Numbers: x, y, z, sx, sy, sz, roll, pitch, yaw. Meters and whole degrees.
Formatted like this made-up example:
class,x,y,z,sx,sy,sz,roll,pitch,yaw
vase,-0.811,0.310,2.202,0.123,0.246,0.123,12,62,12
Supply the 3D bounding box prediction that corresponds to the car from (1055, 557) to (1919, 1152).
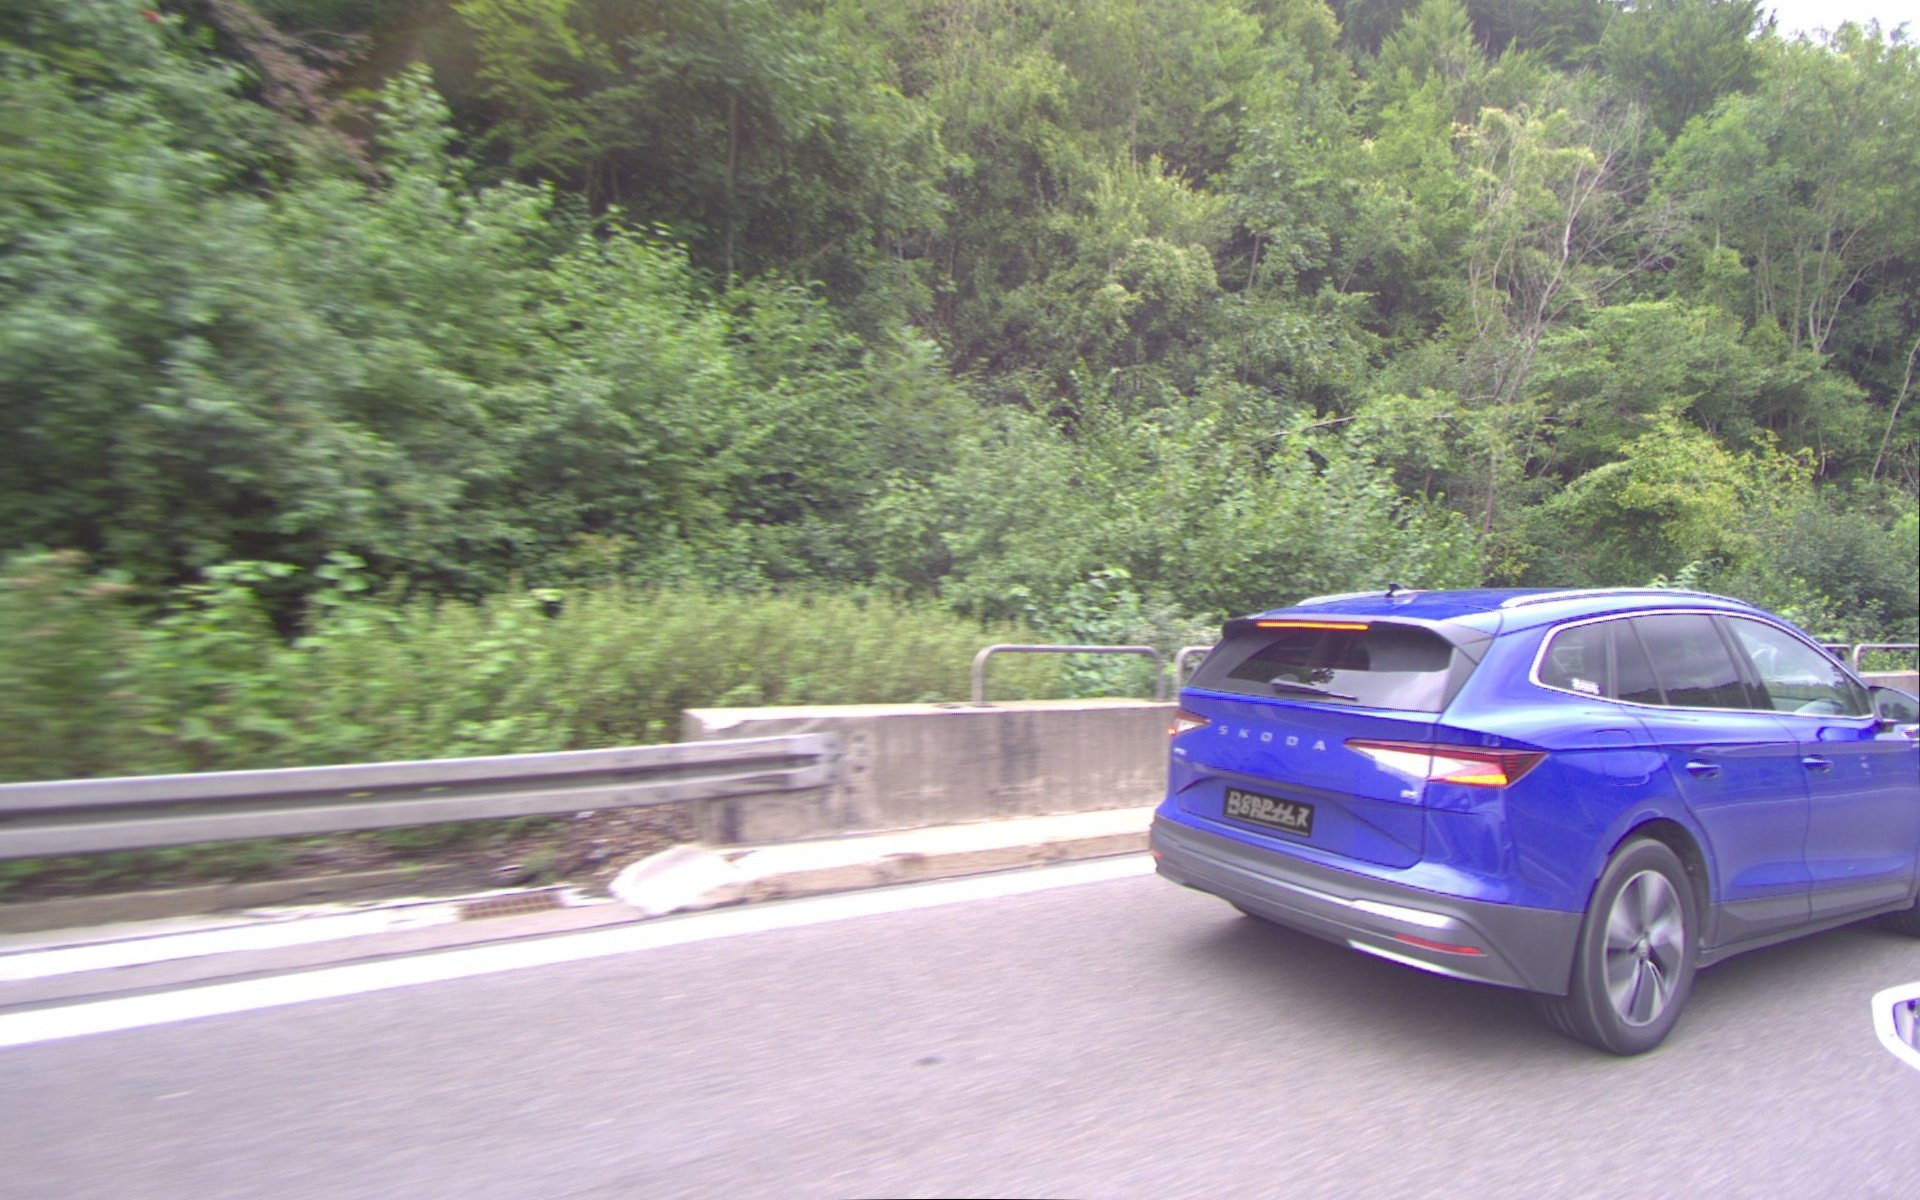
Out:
class,x,y,z,sx,sy,sz,roll,pitch,yaw
car,3.067,0.745,4.884,4.948,1.654,1.985,1,0,-29
